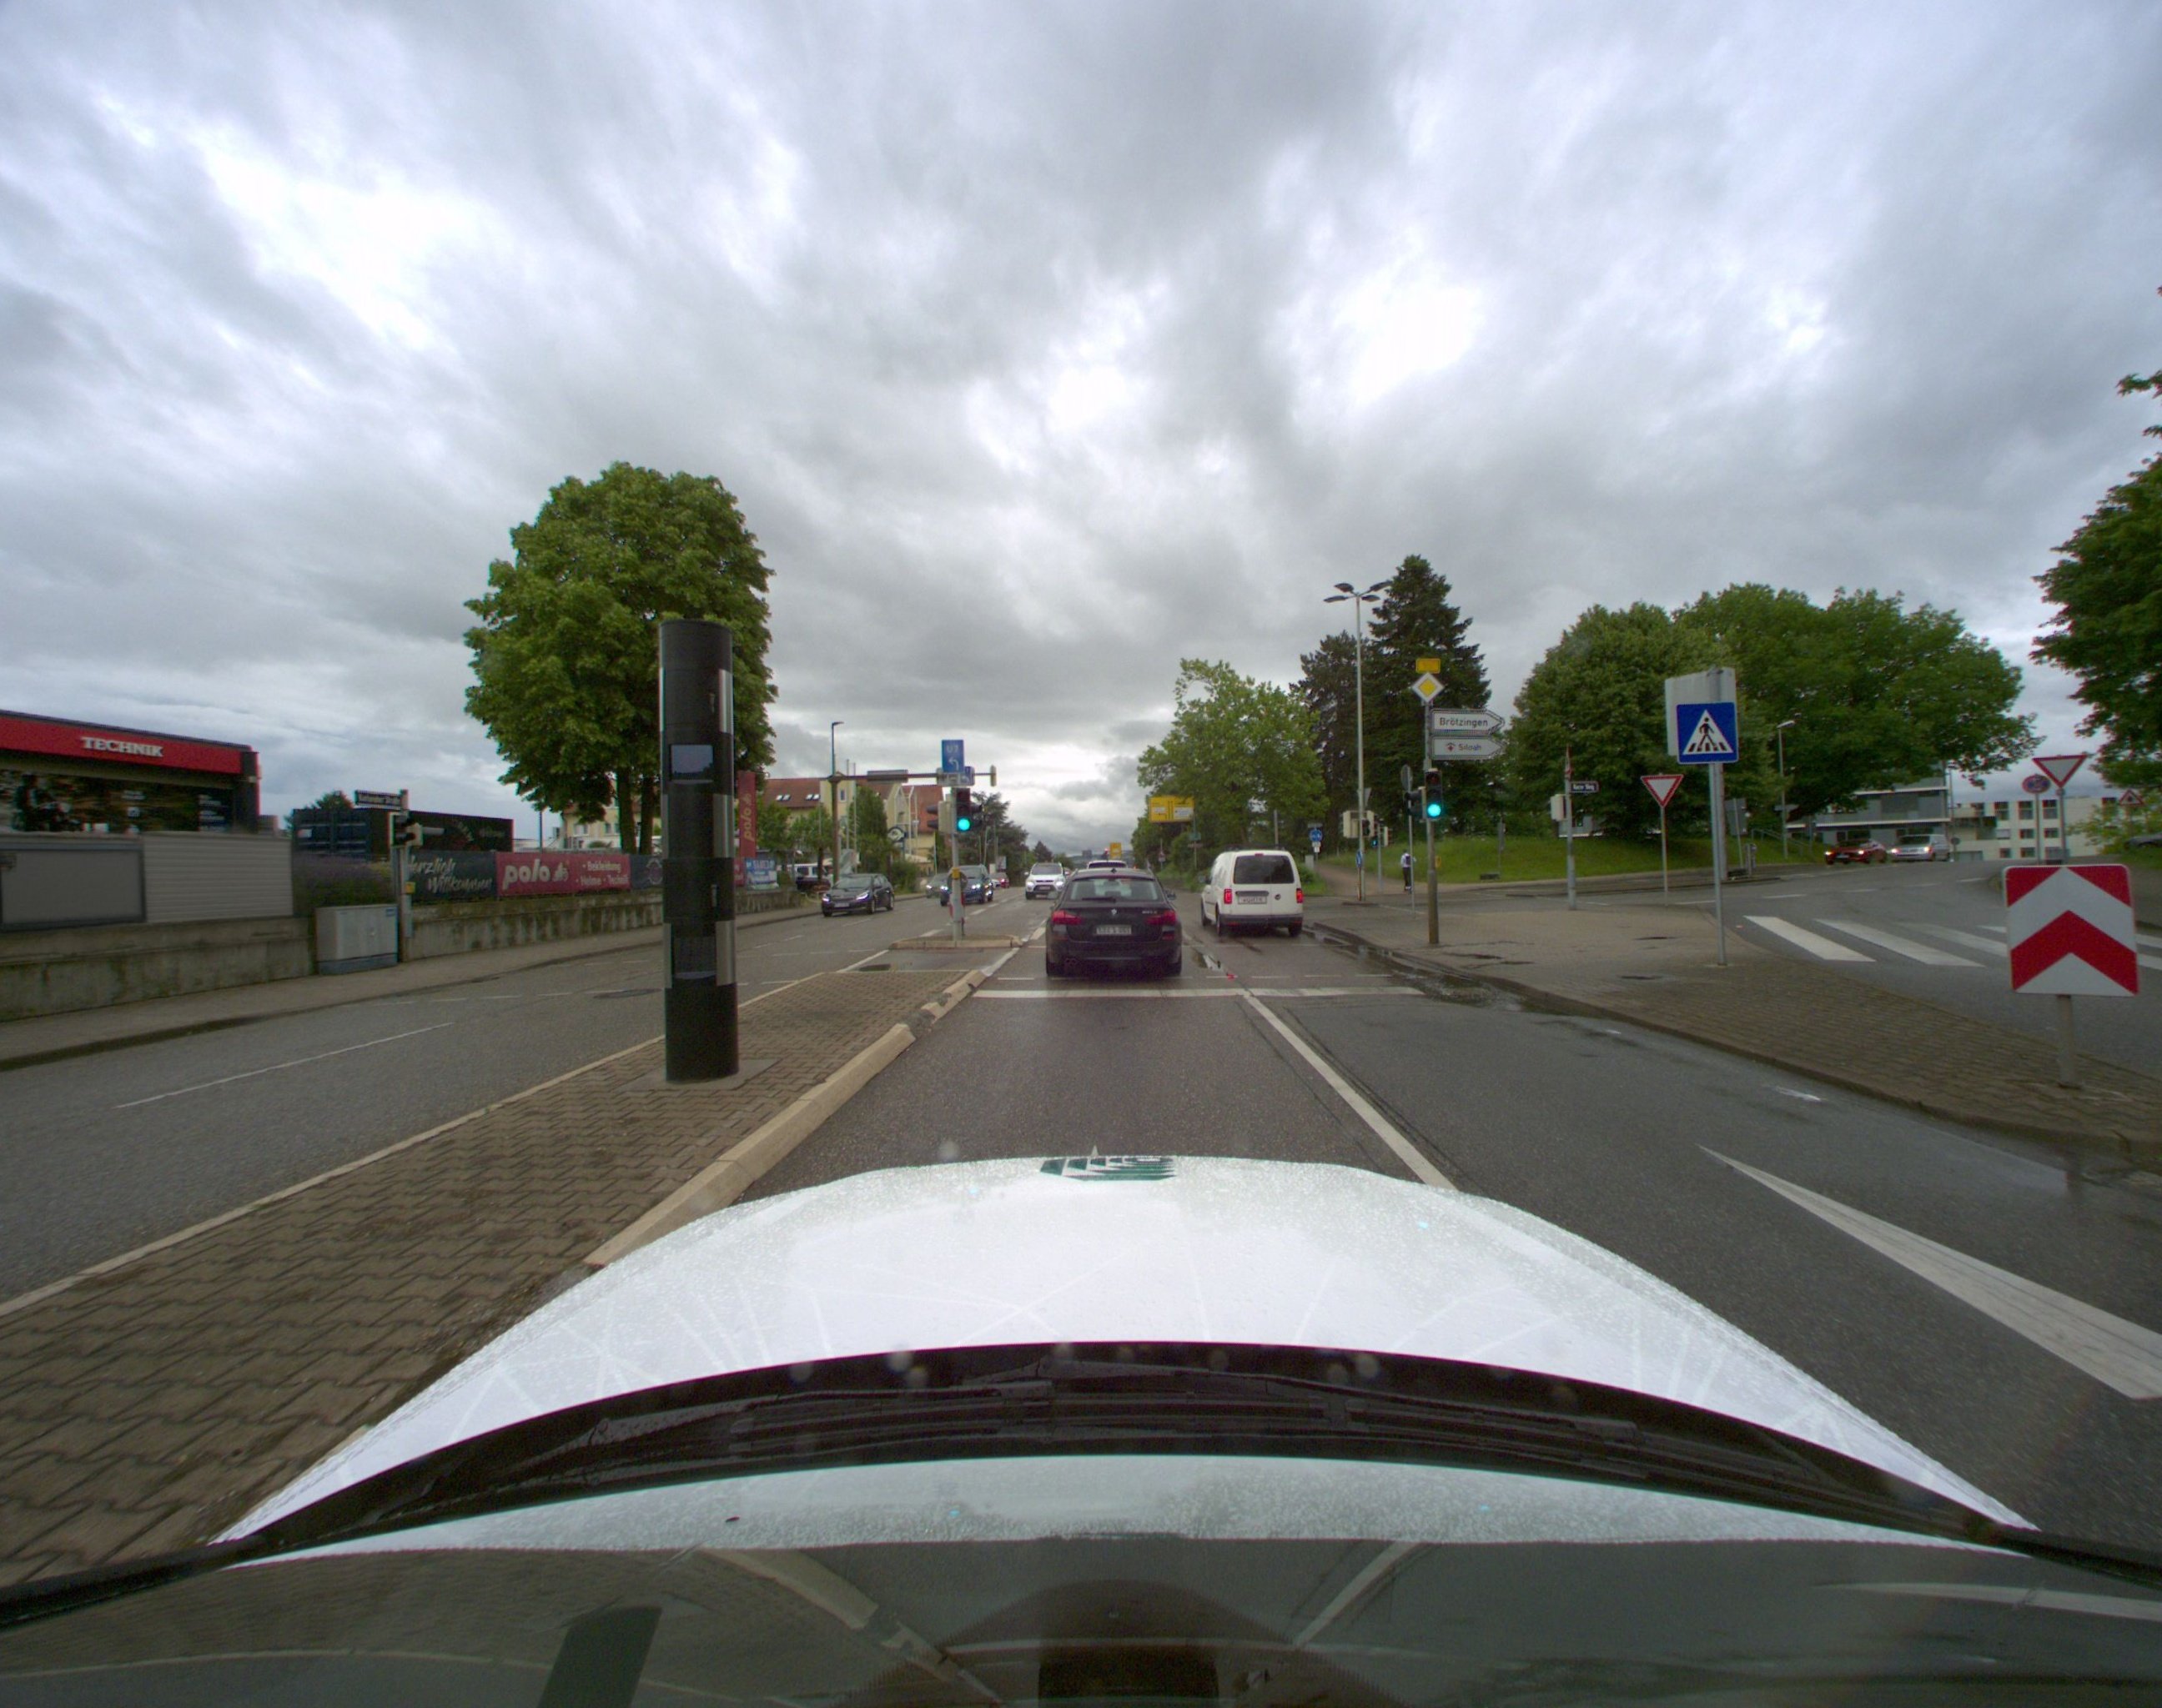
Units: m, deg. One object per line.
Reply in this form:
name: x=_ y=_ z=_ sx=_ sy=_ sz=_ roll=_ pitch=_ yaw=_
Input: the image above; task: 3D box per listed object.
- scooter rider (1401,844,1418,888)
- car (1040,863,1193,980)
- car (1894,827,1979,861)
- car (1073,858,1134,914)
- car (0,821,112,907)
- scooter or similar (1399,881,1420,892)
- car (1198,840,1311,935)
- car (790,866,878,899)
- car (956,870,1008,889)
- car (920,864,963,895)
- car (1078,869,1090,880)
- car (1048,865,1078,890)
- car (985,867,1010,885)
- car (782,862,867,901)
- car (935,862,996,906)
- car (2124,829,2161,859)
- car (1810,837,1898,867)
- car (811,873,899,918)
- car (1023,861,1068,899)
scooter rider: x=14.864 y=0.528 z=36.873 sx=0.499 sy=1.965 sz=0.548 roll=-2 pitch=0 yaw=1
car: x=0.512 y=0.885 z=12.148 sx=1.891 sy=1.442 sz=4.001 roll=-1 pitch=-1 yaw=2
car: x=53.789 y=-0.599 z=51.214 sx=3.993 sy=1.859 sz=1.844 roll=-3 pitch=-2 yaw=-14
car: x=0.776 y=0.990 z=27.104 sx=1.861 sy=1.673 sz=4.002 roll=-1 pitch=0 yaw=2
car: x=-16.419 y=0.192 z=11.608 sx=3.376 sy=1.167 sz=1.453 roll=-2 pitch=0 yaw=-1
scooter or similar: x=14.885 y=1.468 z=36.937 sx=0.485 sy=0.403 sz=1.256 roll=-2 pitch=0 yaw=1
car: x=3.737 y=0.663 z=18.150 sx=1.758 sy=1.877 sz=3.806 roll=-1 pitch=0 yaw=1
car: x=-15.721 y=1.816 z=51.906 sx=5.024 sy=1.702 sz=1.982 roll=-3 pitch=-3 yaw=-27
car: x=-8.179 y=2.104 z=67.465 sx=4.011 sy=1.477 sz=1.645 roll=-2 pitch=-2 yaw=6
car: x=-8.276 y=1.483 z=48.569 sx=1.670 sy=1.618 sz=4.001 roll=-3 pitch=0 yaw=1
car: x=0.472 y=3.341 z=131.831 sx=1.861 sy=1.673 sz=4.002 roll=-1 pitch=0 yaw=2
car: x=-1.043 y=1.414 z=49.262 sx=1.626 sy=1.434 sz=4.144 roll=-1 pitch=-2 yaw=1
car: x=-7.616 y=1.986 z=74.996 sx=1.764 sy=1.569 sz=4.001 roll=-1 pitch=-1 yaw=1
car: x=-15.083 y=1.587 z=47.860 sx=4.410 sy=2.013 sz=1.982 roll=-3 pitch=-1 yaw=-27
car: x=-4.805 y=1.225 z=34.547 sx=1.833 sy=1.649 sz=4.297 roll=-3 pitch=-1 yaw=1
car: x=55.051 y=-0.612 z=40.378 sx=1.862 sy=1.428 sz=3.952 roll=-2 pitch=-2 yaw=-40
car: x=43.228 y=-0.104 z=45.545 sx=3.999 sy=1.428 sz=1.841 roll=-3 pitch=-2 yaw=-19
car: x=-8.219 y=1.464 z=29.989 sx=1.910 sy=1.379 sz=4.126 roll=-3 pitch=-1 yaw=2
car: x=-1.602 y=1.185 z=38.394 sx=1.833 sy=1.649 sz=4.297 roll=-2 pitch=-1 yaw=1
